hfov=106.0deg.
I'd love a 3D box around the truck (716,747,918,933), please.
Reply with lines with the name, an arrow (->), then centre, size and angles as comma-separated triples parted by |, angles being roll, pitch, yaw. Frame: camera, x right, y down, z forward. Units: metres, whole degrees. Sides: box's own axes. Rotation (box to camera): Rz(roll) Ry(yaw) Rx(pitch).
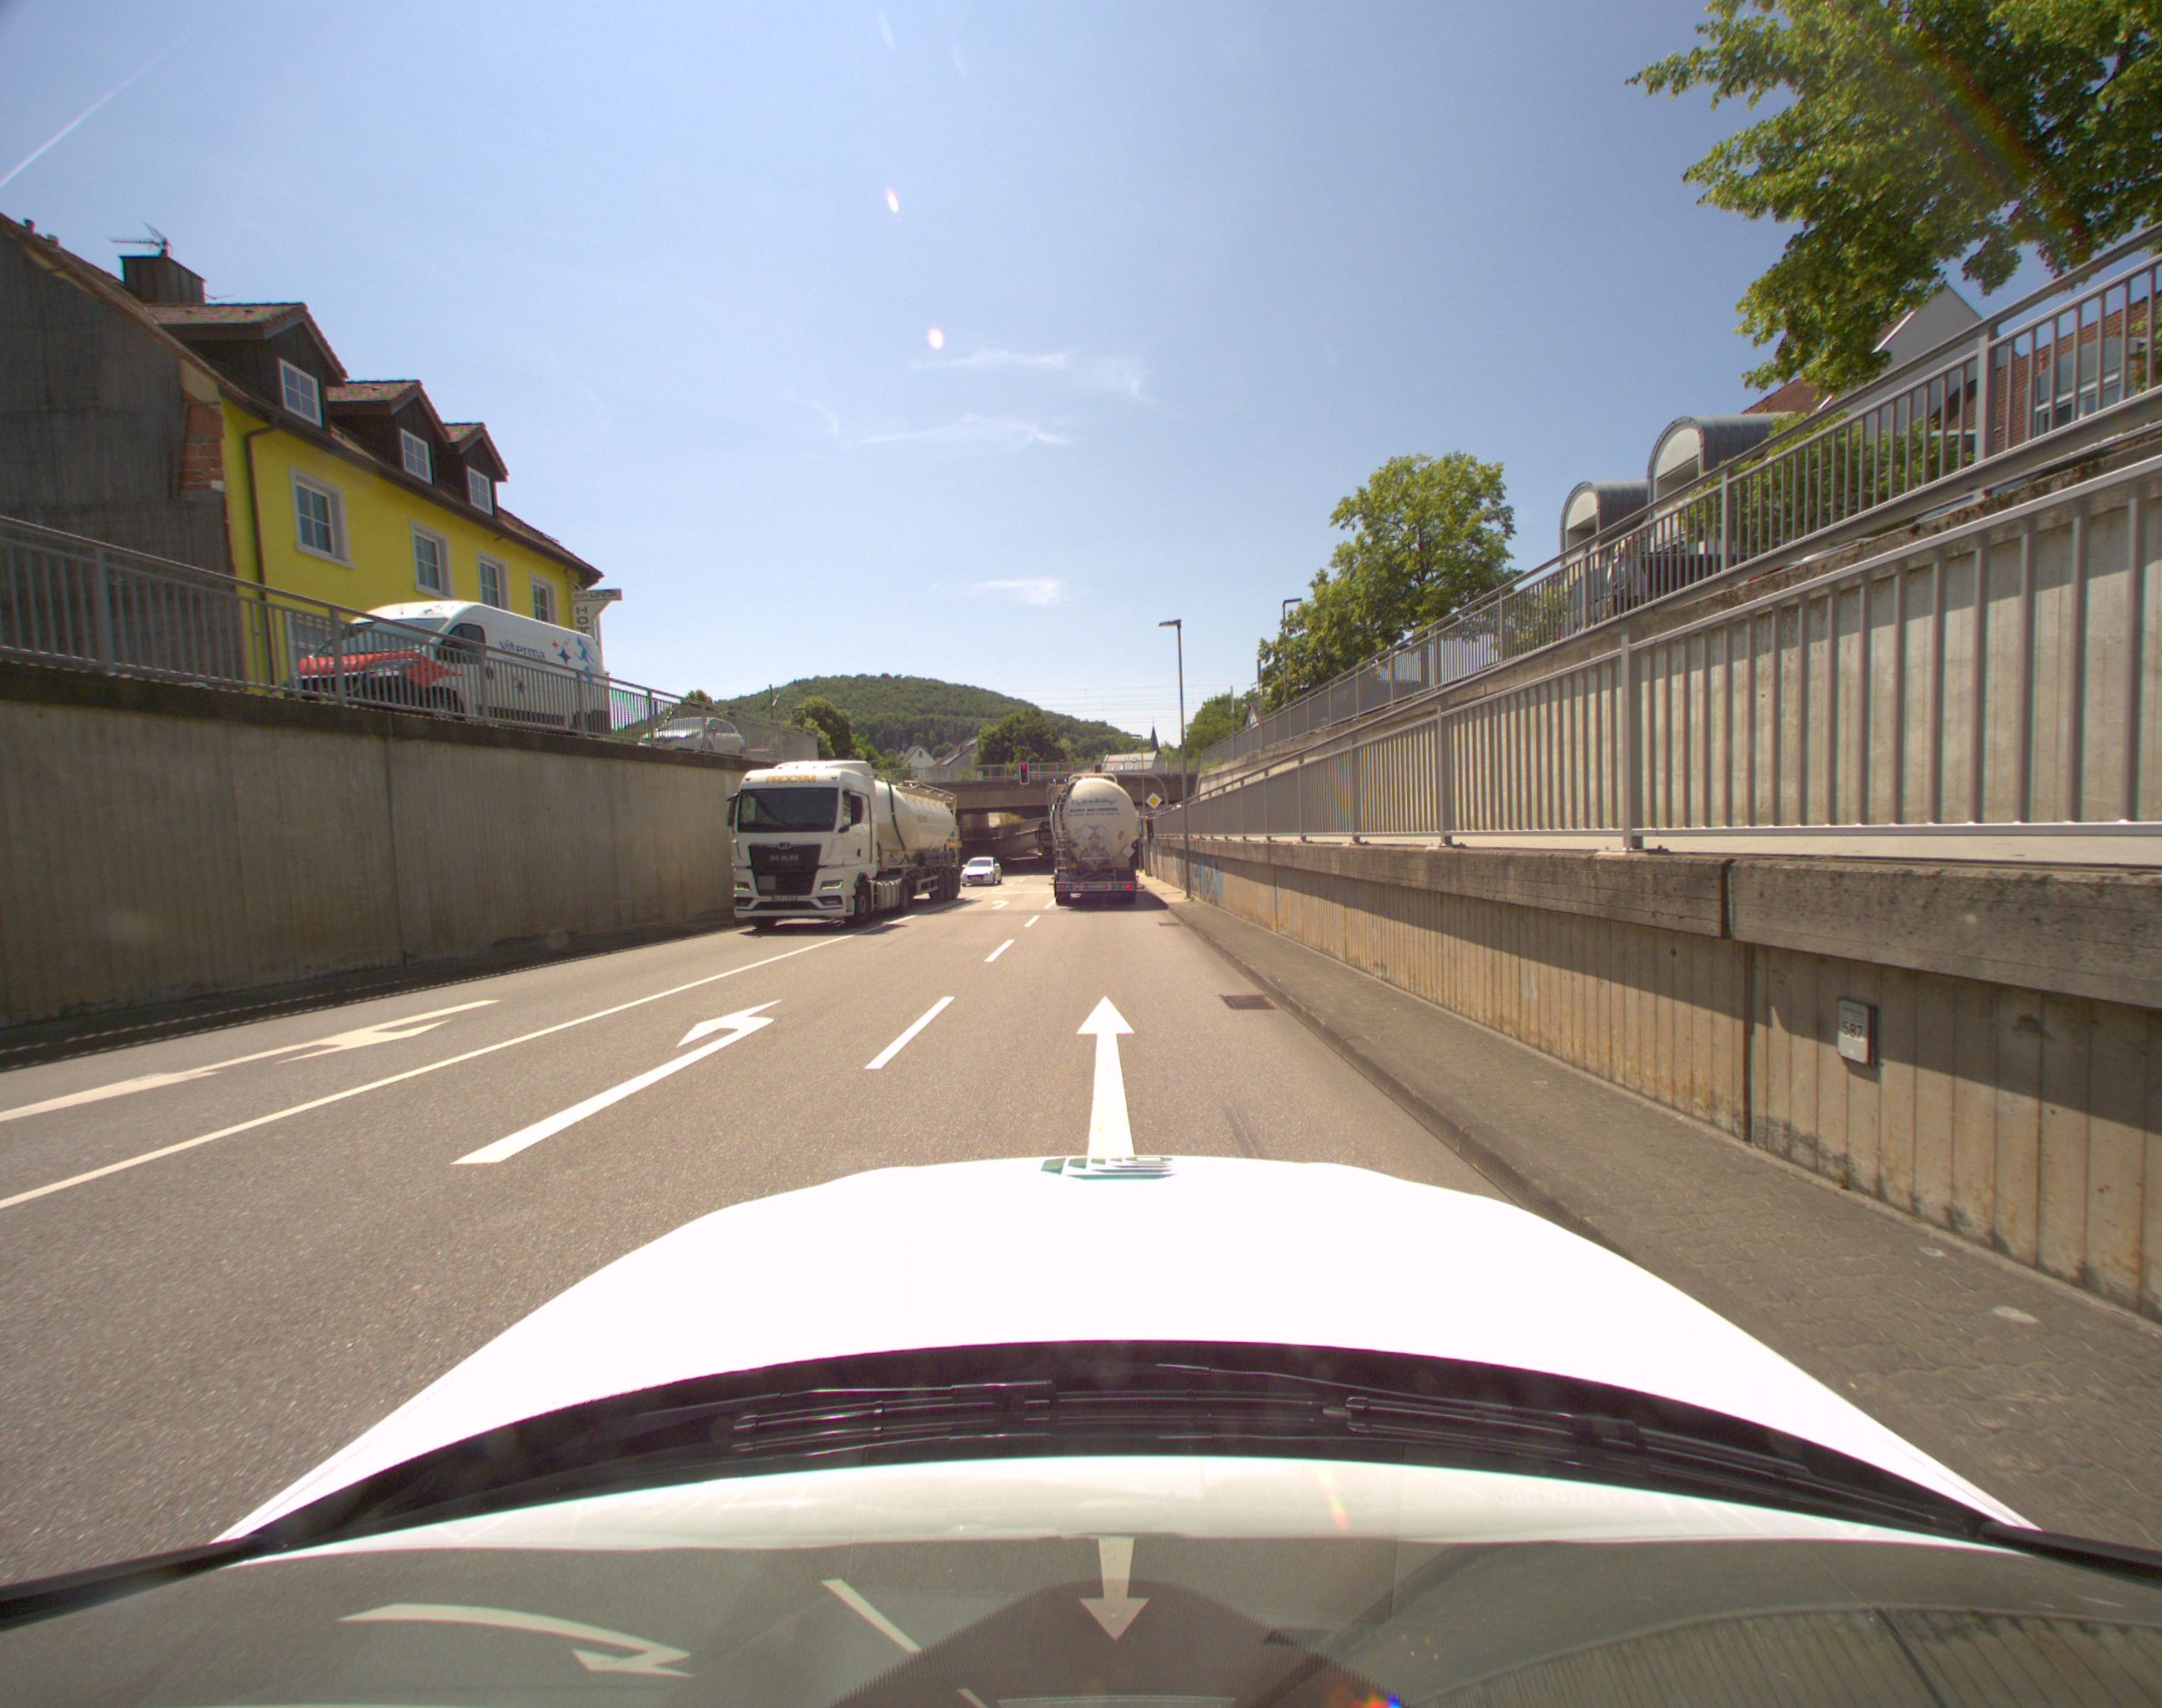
truck -> -6.211, -0.283, 20.419 | 2.651, 3.860, 6.583 | -1, 0, 2

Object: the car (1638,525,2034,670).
car -> 10.250, -3.480, 11.294 | 3.890, 1.367, 1.687 | -2, 3, 2

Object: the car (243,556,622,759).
car -> -10.988, -3.173, 14.642 | 2.058, 2.535, 5.664 | -1, 3, 1

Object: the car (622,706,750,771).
car -> -11.139, -3.218, 23.285 | 1.613, 1.500, 4.045 | -1, 3, 0

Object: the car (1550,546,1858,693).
car -> 10.337, -3.868, 13.727 | 3.890, 1.884, 1.687 | -2, 3, 2

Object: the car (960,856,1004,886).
car -> -5.239, 0.883, 43.522 | 1.675, 1.440, 4.096 | -1, 0, 2

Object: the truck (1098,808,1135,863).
truck -> 3.575, -1.823, 80.024 | 3.066, 4.999, 10.099 | -1, 1, 5

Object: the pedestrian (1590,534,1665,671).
pedestrian -> 7.928, -3.629, 11.832 | 0.670, 1.779, 0.595 | -2, 2, 3

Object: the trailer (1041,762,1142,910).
trailer -> 0.554, -0.499, 29.379 | 2.724, 4.064, 13.320 | -1, 0, 2

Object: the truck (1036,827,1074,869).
truck -> -2.346, -0.556, 75.639 | 2.677, 3.663, 7.377 | -1, 0, 4

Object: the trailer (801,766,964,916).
trailer -> -5.976, -0.325, 26.399 | 2.600, 3.964, 9.350 | -1, 0, 2
